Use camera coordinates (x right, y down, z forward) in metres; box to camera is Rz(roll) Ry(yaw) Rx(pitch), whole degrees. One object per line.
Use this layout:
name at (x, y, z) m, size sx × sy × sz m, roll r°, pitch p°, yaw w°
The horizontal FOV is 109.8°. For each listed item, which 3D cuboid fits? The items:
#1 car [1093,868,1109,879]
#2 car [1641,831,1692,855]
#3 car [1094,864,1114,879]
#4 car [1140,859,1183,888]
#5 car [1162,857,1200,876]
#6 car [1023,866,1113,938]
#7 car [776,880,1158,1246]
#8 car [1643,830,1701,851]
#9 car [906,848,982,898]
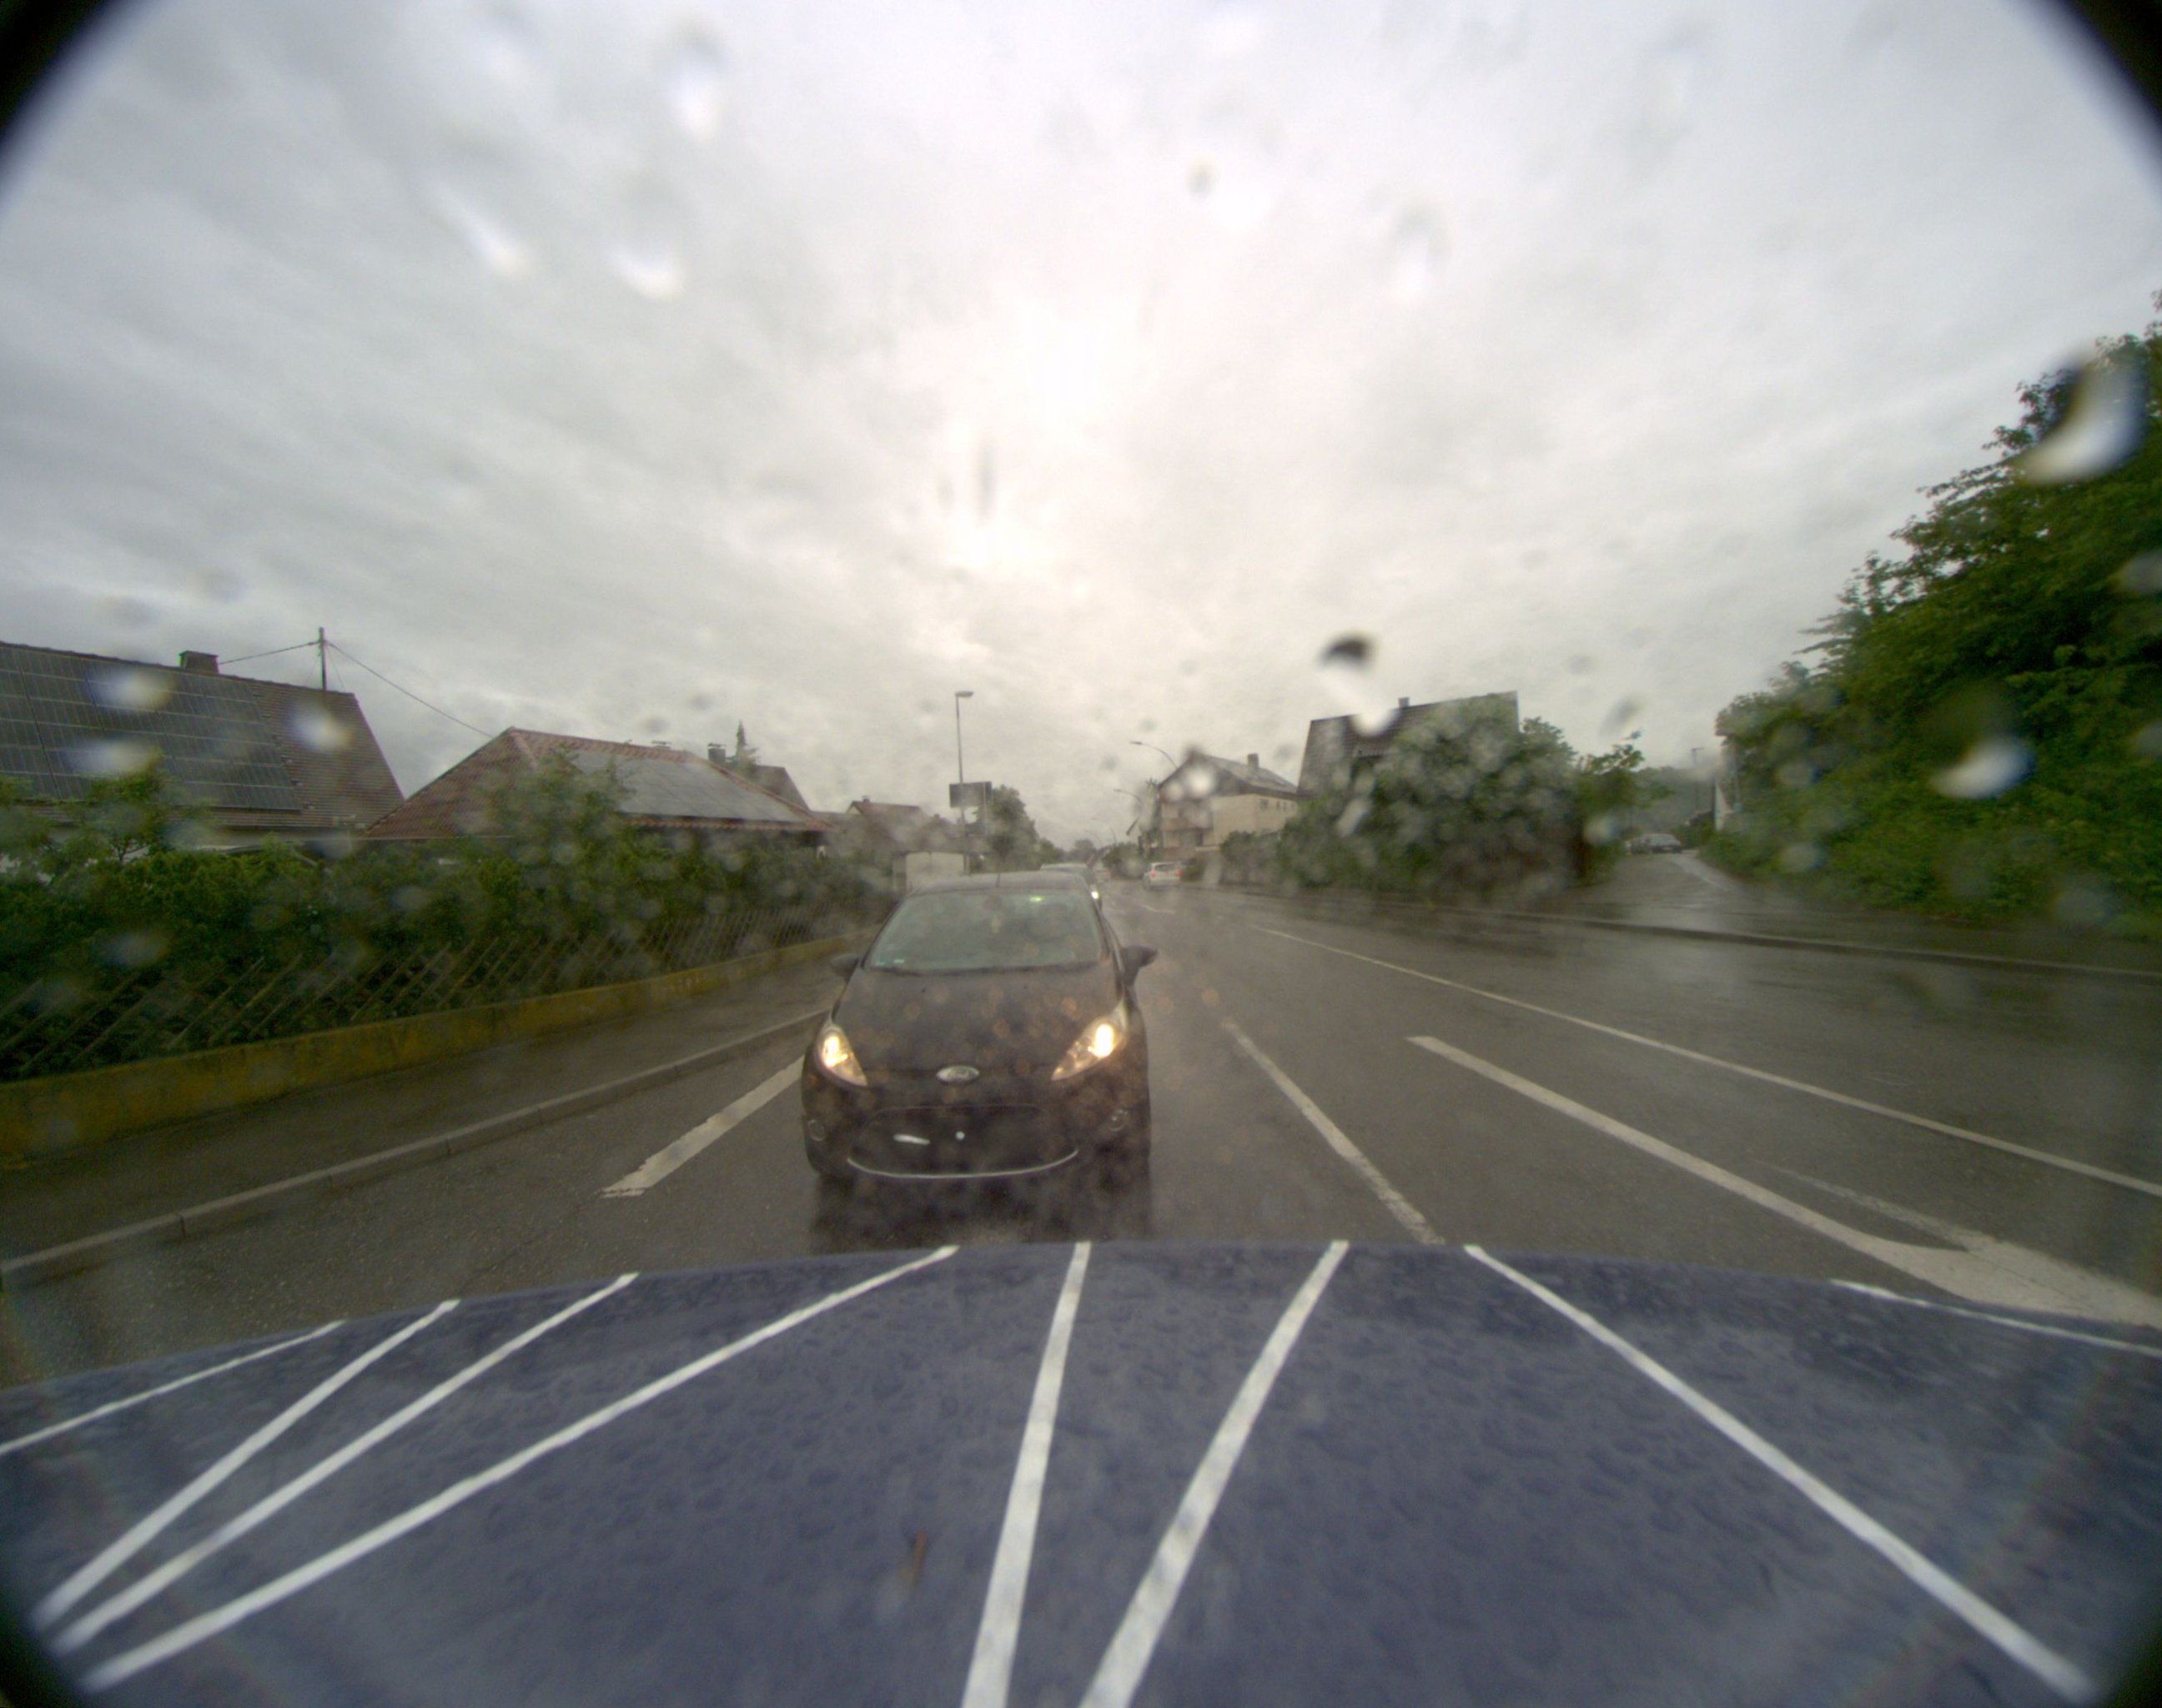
car at (2.763, 2.729, 106.730) m, size 1.670 × 1.430 × 4.105 m, roll 0°, pitch 0°, yaw -8°
car at (40.770, -0.747, 52.969) m, size 1.895 × 1.474 × 4.007 m, roll -2°, pitch 0°, yaw 24°
car at (2.573, 2.000, 87.069) m, size 1.669 × 1.496 × 4.319 m, roll -3°, pitch 0°, yaw -6°
car at (4.463, 1.060, 42.640) m, size 1.625 × 1.496 × 3.820 m, roll -1°, pitch 0°, yaw -5°
car at (8.820, 1.089, 66.886) m, size 1.661 × 1.538 × 4.007 m, roll -2°, pitch 1°, yaw 34°
car at (-0.369, 1.081, 18.607) m, size 1.899 × 1.474 × 3.999 m, roll -2°, pitch 0°, yaw -3°
car at (-0.556, 1.013, 5.405) m, size 1.666 × 1.410 × 3.931 m, roll -2°, pitch 1°, yaw -1°
car at (45.557, -1.023, 58.709) m, size 1.997 × 1.477 × 4.004 m, roll -3°, pitch 0°, yaw 13°
car at (-6.890, 0.937, 38.639) m, size 1.650 × 2.337 × 4.007 m, roll -2°, pitch 0°, yaw 27°
